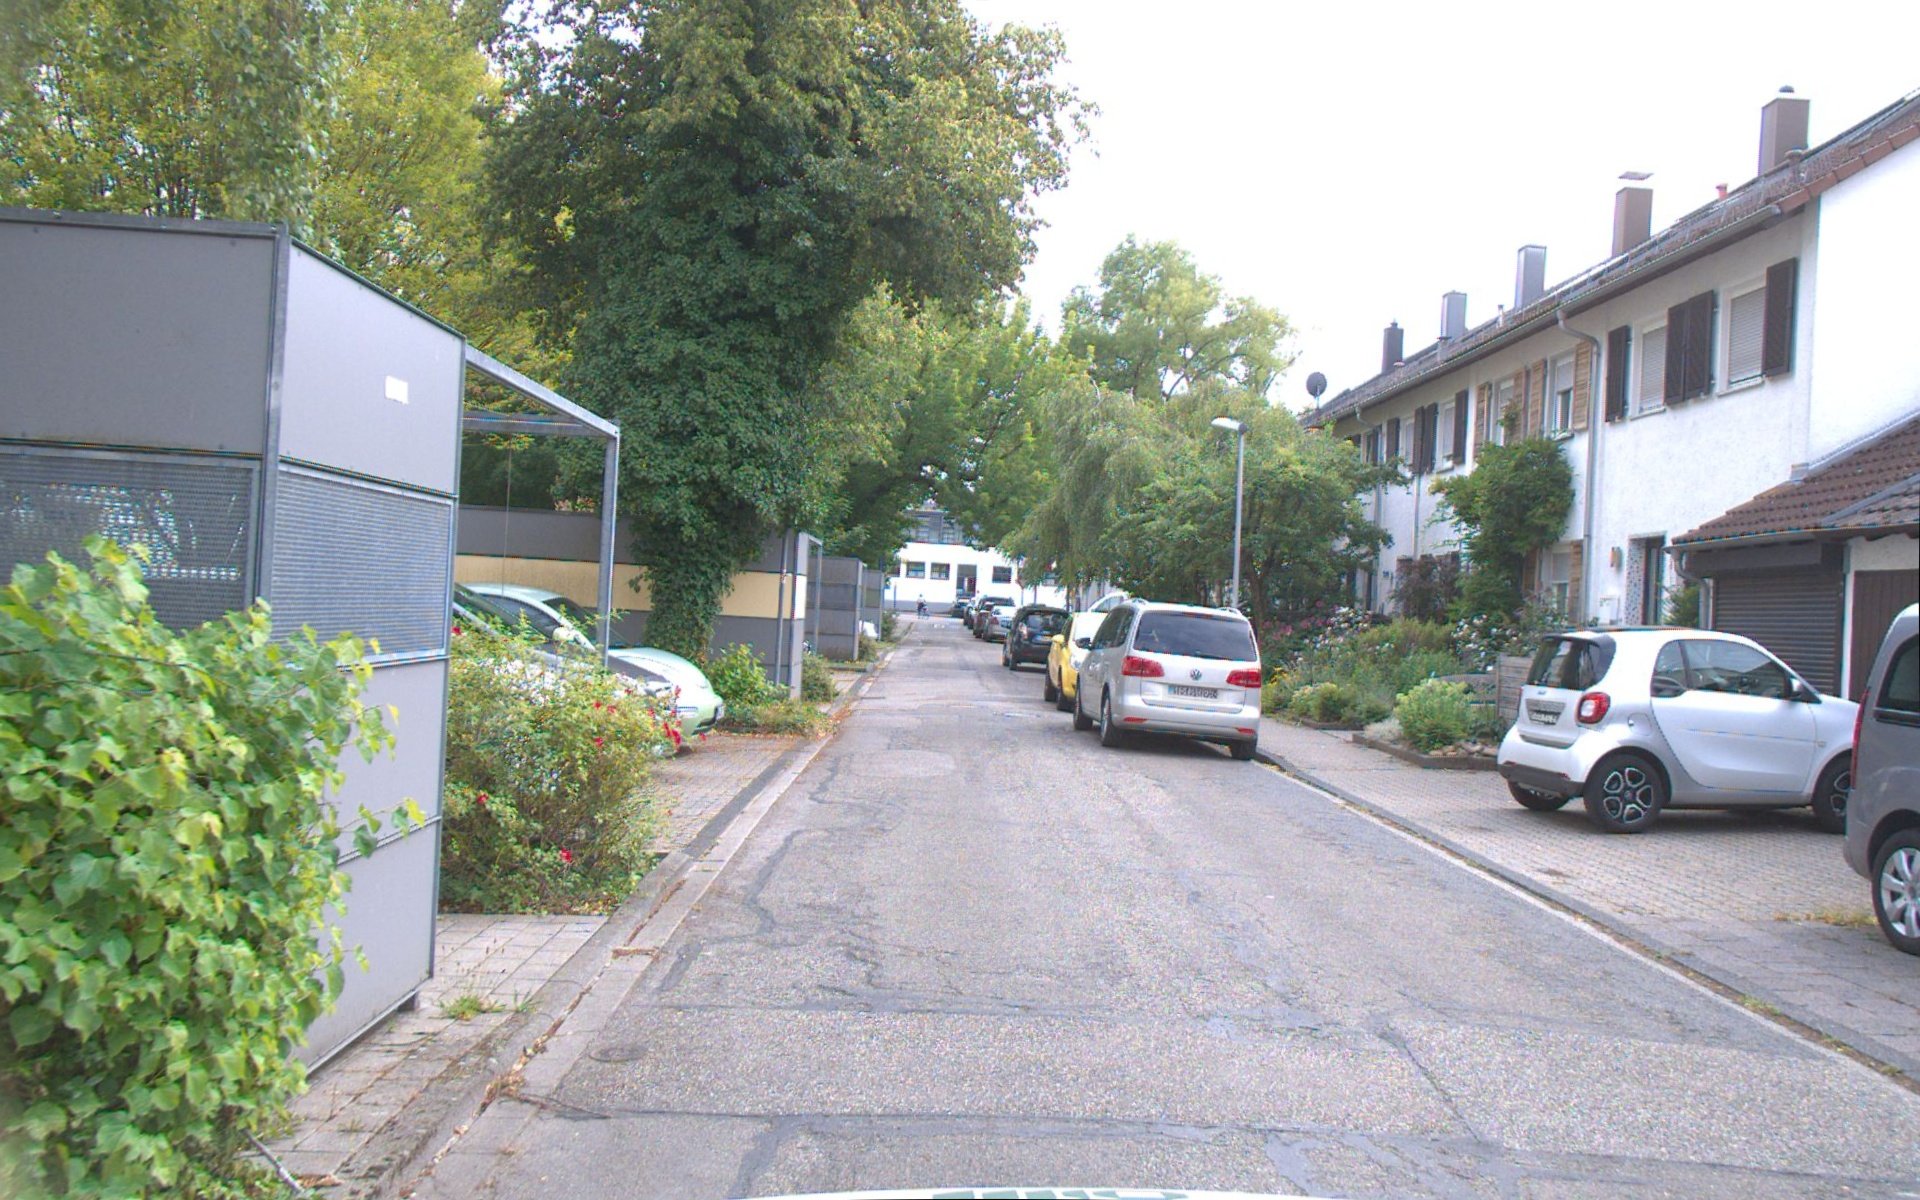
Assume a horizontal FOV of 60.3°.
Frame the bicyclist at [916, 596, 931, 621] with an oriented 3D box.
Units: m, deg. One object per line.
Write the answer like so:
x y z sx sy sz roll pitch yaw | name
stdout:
-2.302 0.550 104.917 0.782 1.537 0.934 4 0 1 | bicyclist

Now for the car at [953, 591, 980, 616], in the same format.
0.450 0.225 117.192 1.788 1.608 4.000 5 0 0 | car

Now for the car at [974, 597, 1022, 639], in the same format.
1.596 0.736 70.480 1.788 1.608 4.000 5 0 0 | car

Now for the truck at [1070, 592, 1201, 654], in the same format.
6.107 0.781 57.963 4.301 2.049 1.999 1 0 -2 | truck

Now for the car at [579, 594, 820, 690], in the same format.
-4.478 0.716 28.866 3.906 1.489 1.737 2 0 -2 | car

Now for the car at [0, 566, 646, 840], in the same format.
-4.165 0.601 10.630 3.906 1.485 1.795 2 0 -1 | car

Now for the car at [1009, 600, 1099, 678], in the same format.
2.209 0.889 39.735 1.788 1.608 4.192 5 0 0 | car

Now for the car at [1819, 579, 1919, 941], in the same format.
5.784 0.797 7.018 1.789 1.808 4.337 0 0 -4 | car

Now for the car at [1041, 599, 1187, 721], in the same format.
2.328 0.867 25.909 1.788 1.608 4.000 5 0 0 | car

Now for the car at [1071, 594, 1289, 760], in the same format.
2.469 0.810 19.546 1.789 1.608 3.998 5 0 -2 | car

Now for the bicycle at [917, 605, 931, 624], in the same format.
-2.287 0.894 104.846 0.675 1.151 2.579 4 0 1 | bicycle

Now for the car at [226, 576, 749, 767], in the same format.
-4.274 0.629 15.503 4.322 1.528 1.841 2 0 -1 | car

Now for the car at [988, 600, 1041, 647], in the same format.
2.106 0.896 64.755 1.788 1.608 4.000 5 0 0 | car

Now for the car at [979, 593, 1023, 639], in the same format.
1.854 0.713 76.568 1.788 1.915 4.000 5 0 0 | car

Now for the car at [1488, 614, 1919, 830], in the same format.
5.975 0.939 13.449 2.760 1.596 1.740 1 0 -3 | car

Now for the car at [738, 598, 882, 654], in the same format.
-4.272 0.734 47.463 3.950 1.418 1.737 2 0 -2 | car

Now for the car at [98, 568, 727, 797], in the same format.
-4.163 0.610 13.124 4.322 1.528 1.841 2 0 -1 | car
